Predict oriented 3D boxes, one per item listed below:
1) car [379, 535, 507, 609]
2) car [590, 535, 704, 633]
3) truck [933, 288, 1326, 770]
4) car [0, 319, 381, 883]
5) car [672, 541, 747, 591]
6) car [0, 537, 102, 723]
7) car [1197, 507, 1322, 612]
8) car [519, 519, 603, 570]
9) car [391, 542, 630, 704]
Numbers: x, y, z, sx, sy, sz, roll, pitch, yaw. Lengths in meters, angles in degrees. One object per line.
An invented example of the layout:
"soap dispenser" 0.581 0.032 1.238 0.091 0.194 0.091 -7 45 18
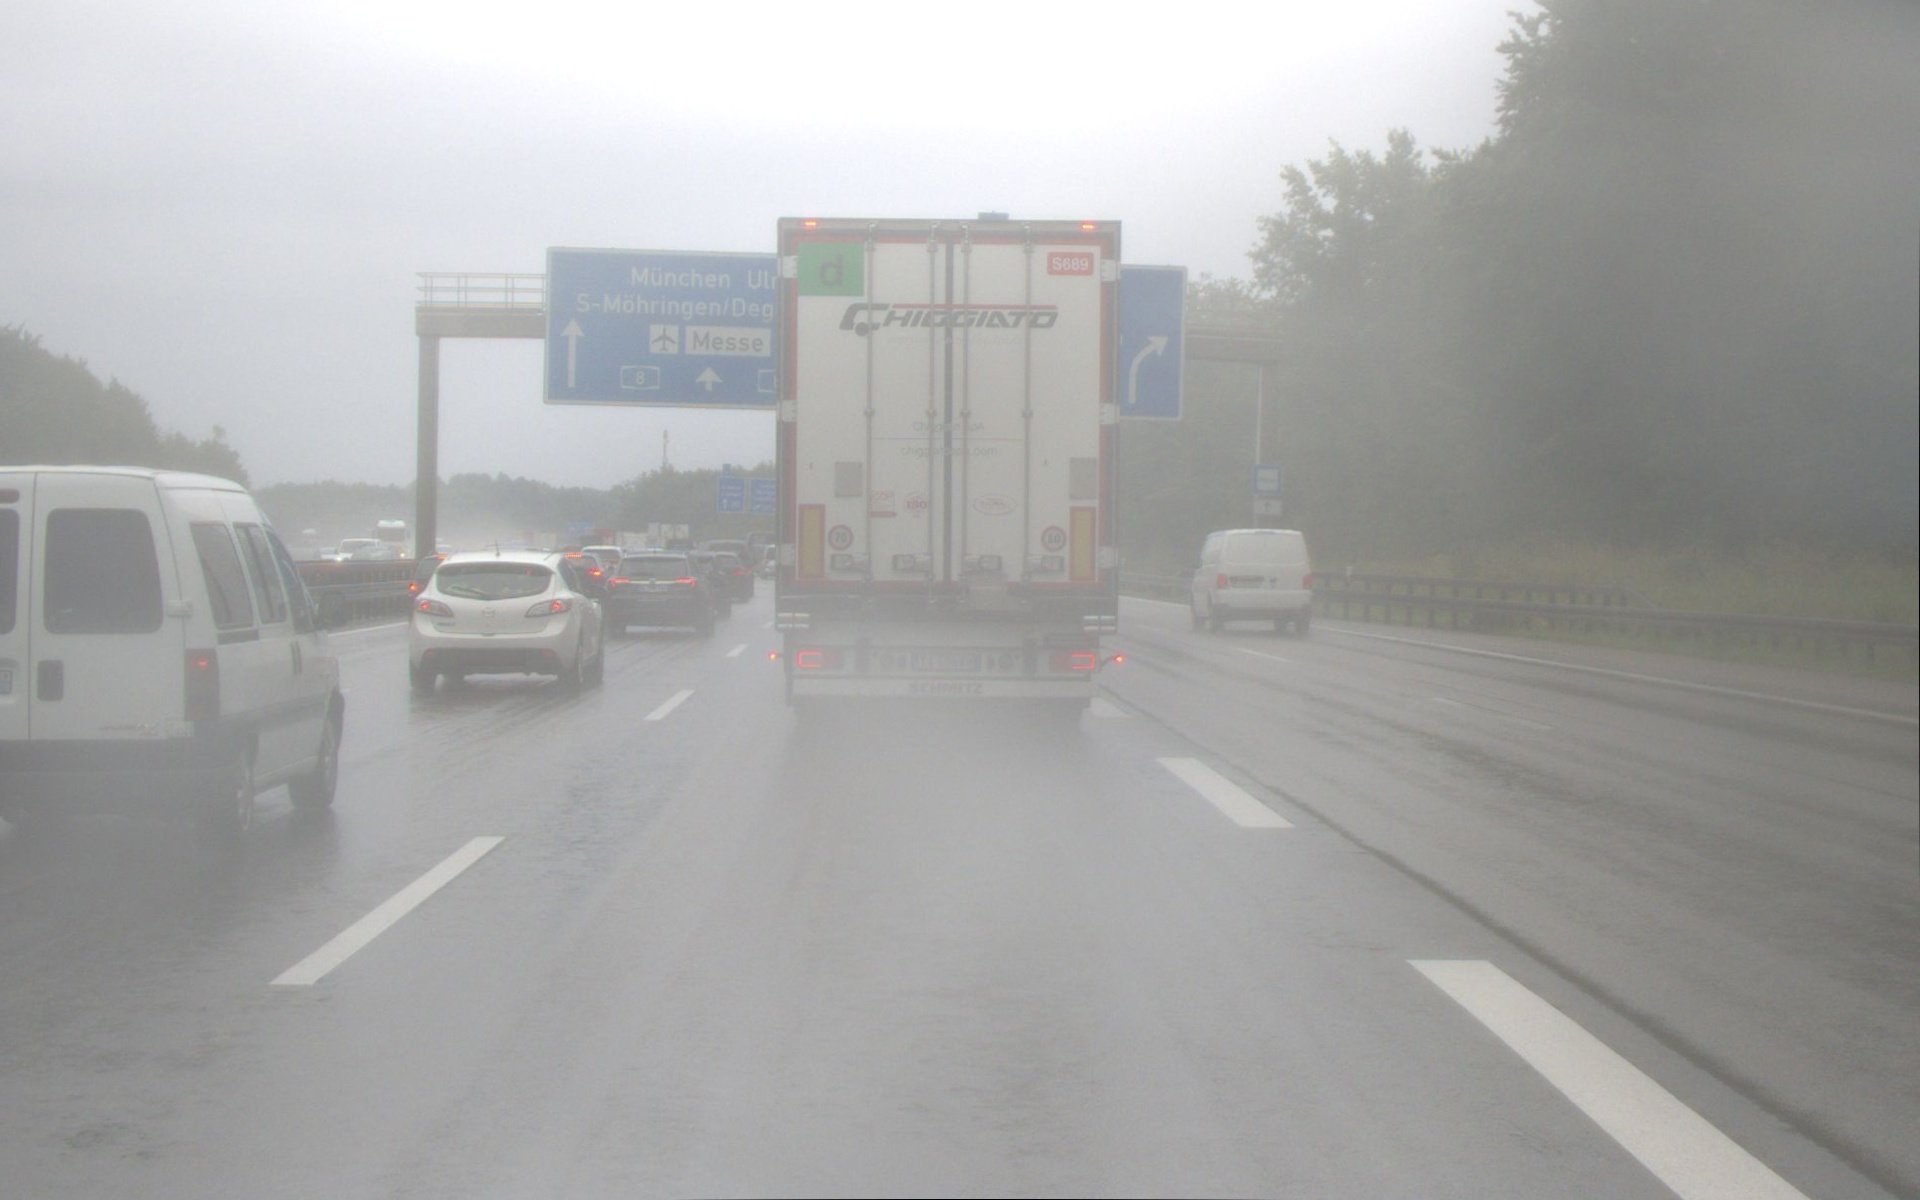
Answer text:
"car" -9.945 -0.570 66.386 1.845 1.326 4.467 1 1 -1
"car" -5.390 -0.310 59.653 1.845 1.586 4.467 1 1 -4
"truck" 1.426 -0.603 31.256 2.872 3.550 11.302 1 1 2
"car" -4.490 -0.062 18.210 2.212 2.564 5.016 1 1 -3
"car" -7.074 -0.975 97.336 1.845 1.326 4.467 1 1 -1
"car" -9.264 0.235 31.167 1.845 1.586 4.467 1 1 0
"car" 5.713 -0.811 66.112 1.990 1.914 4.767 1 1 0
"car" -10.944 -1.541 94.472 1.845 1.326 4.467 1 1 -1
"car" -4.753 0.199 36.891 1.846 1.586 4.072 1 1 3
